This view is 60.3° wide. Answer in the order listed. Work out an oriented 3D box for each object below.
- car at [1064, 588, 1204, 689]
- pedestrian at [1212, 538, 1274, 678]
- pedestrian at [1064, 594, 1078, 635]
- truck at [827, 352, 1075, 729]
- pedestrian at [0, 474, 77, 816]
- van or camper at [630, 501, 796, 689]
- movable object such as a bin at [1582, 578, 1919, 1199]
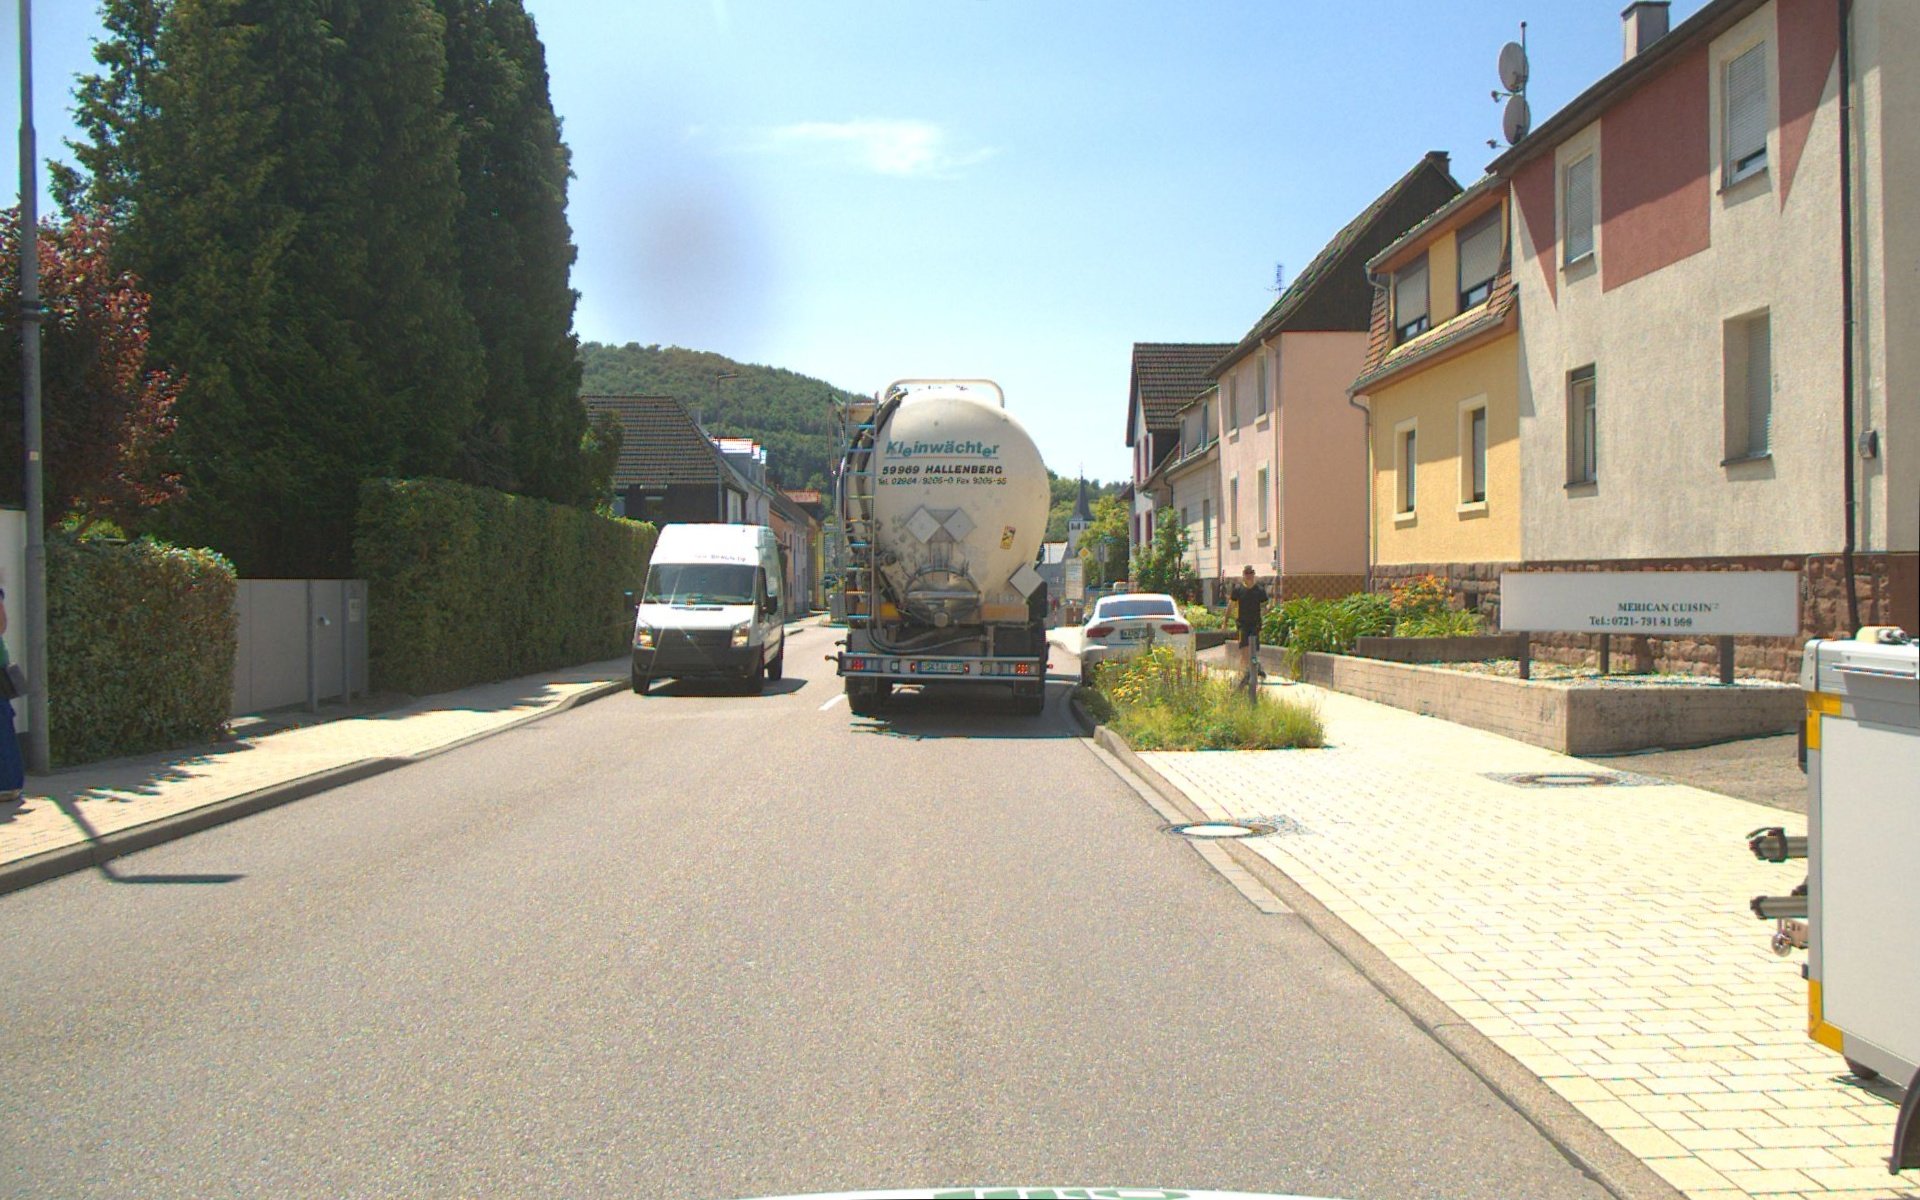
[{"bbox_3d":[2.750,0.625,27.036,1.720,1.442,4.632,-2,-1,-1],"label":"car"},{"bbox_3d":[4.251,0.130,24.926,0.731,2.049,1.033,1,-1,0],"label":"pedestrian"},{"bbox_3d":[4.787,0.631,71.222,0.559,1.723,0.721,1,-1,3],"label":"pedestrian"},{"bbox_3d":[-0.257,-0.667,23.688,2.695,4.128,10.885,1,0,-2],"label":"truck"},{"bbox_3d":[-6.097,0.265,10.304,0.706,2.049,0.804,1,-1,-2],"label":"pedestrian"},{"bbox_3d":[-3.973,-0.039,27.623,1.996,2.761,5.822,1,-1,-2],"label":"van or camper"},{"bbox_3d":[2.683,0.666,3.434,1.540,1.441,3.040,-1,-1,-2],"label":"movable object such as a bin"}]
